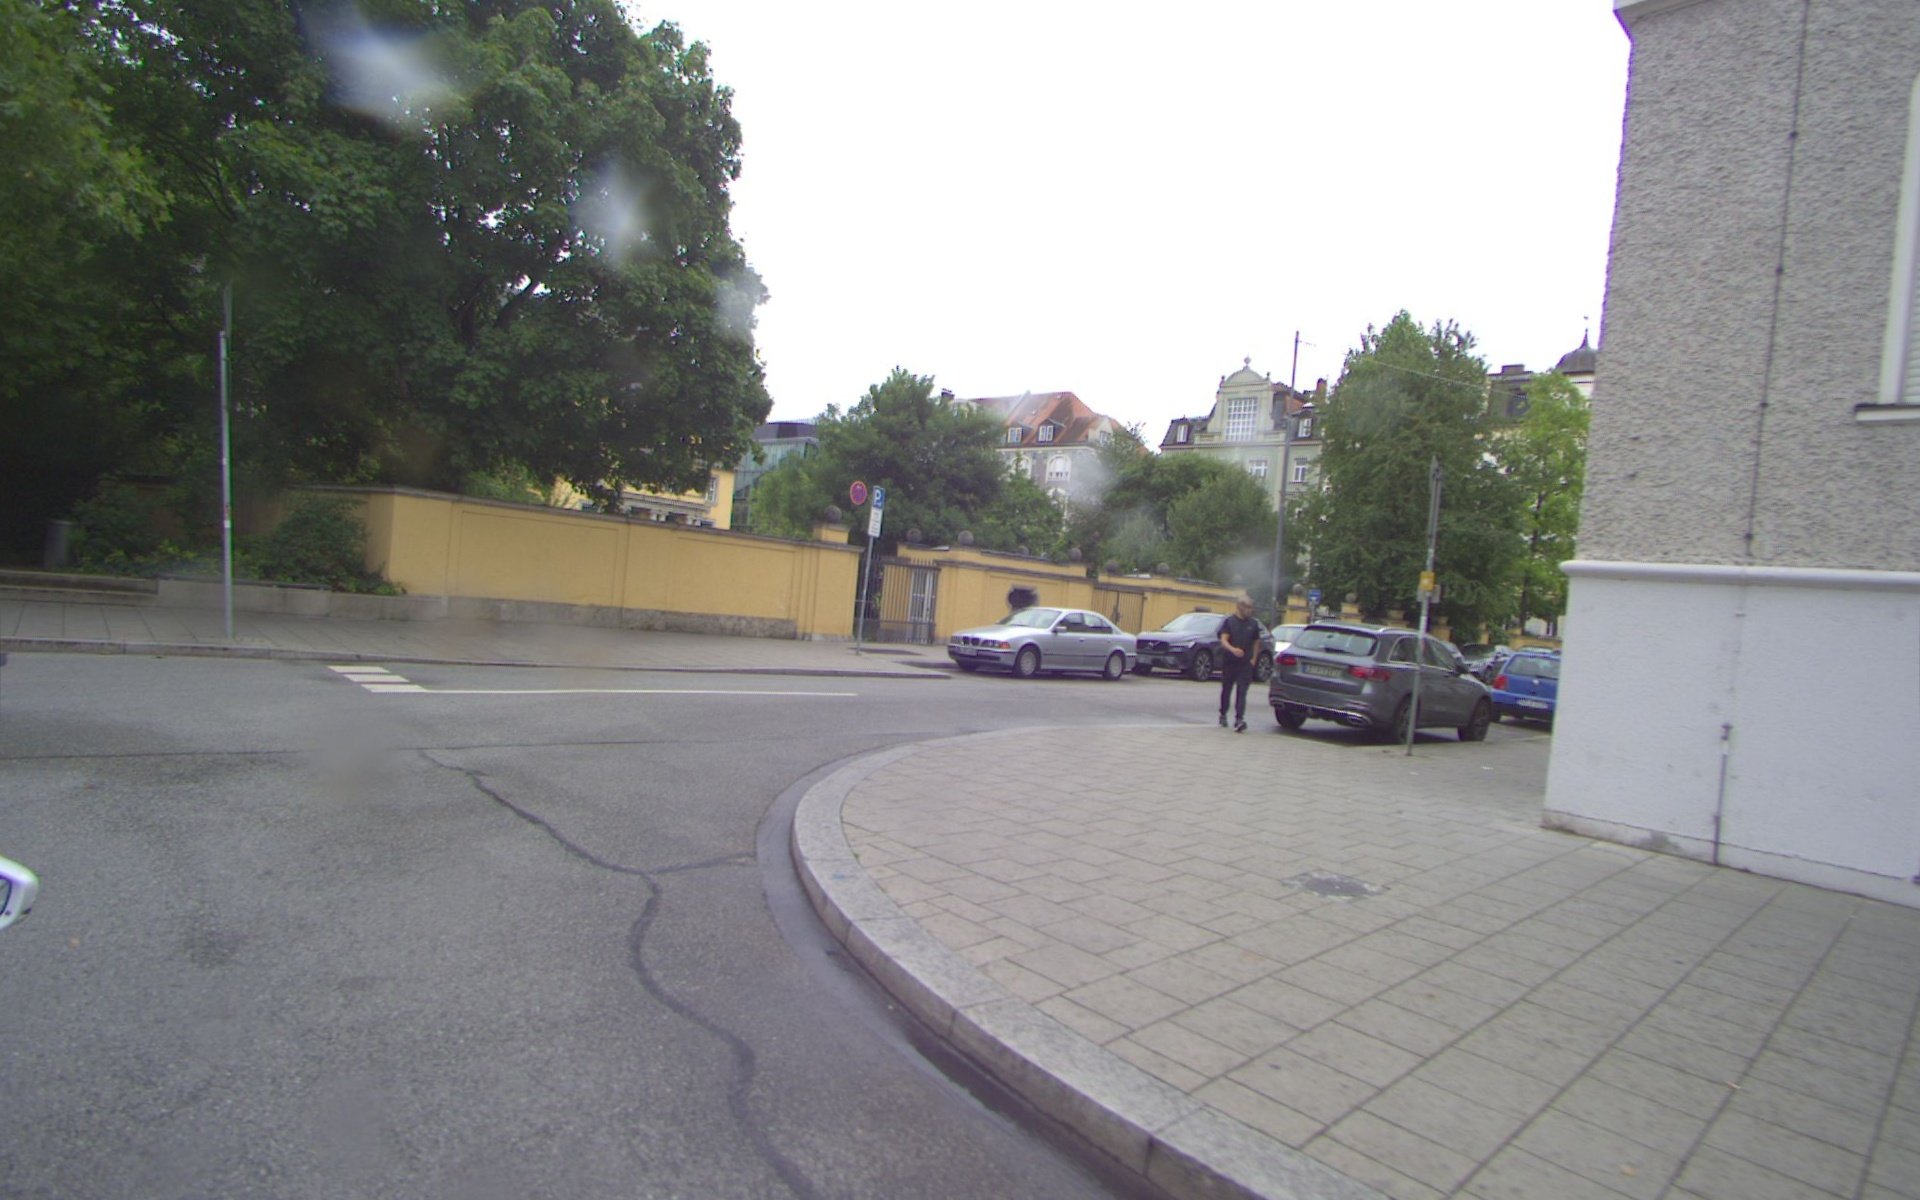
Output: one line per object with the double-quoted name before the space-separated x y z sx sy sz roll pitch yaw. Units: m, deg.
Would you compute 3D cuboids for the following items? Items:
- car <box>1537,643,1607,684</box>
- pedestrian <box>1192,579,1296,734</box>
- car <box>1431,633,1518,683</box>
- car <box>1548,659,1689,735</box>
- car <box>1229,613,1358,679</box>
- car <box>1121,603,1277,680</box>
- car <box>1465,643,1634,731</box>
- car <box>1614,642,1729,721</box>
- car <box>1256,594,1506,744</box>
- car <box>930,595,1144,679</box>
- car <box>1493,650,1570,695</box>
"car" 27.393 2.870 44.995 3.282 1.567 1.774 5 1 -44
"pedestrian" 3.609 0.698 12.889 0.981 1.824 0.930 5 1 6
"car" 18.819 2.134 36.736 3.282 1.567 1.774 5 1 -44
"car" 15.457 2.233 23.528 1.869 1.422 4.223 6 1 45
"car" 9.506 1.330 28.546 3.930 1.566 1.774 5 1 -44
"car" 5.861 1.030 24.431 3.930 1.566 1.774 5 1 -44
"car" 12.075 1.745 20.488 1.869 1.422 4.223 6 1 45
"car" 19.039 2.159 26.877 1.775 1.806 3.814 6 1 45
"car" 6.407 1.018 15.066 1.869 1.818 4.223 6 1 45
"car" 1.670 0.792 20.590 4.434 1.386 1.779 5 1 -44
"car" 23.319 2.957 41.021 3.282 1.567 1.774 5 1 -44
